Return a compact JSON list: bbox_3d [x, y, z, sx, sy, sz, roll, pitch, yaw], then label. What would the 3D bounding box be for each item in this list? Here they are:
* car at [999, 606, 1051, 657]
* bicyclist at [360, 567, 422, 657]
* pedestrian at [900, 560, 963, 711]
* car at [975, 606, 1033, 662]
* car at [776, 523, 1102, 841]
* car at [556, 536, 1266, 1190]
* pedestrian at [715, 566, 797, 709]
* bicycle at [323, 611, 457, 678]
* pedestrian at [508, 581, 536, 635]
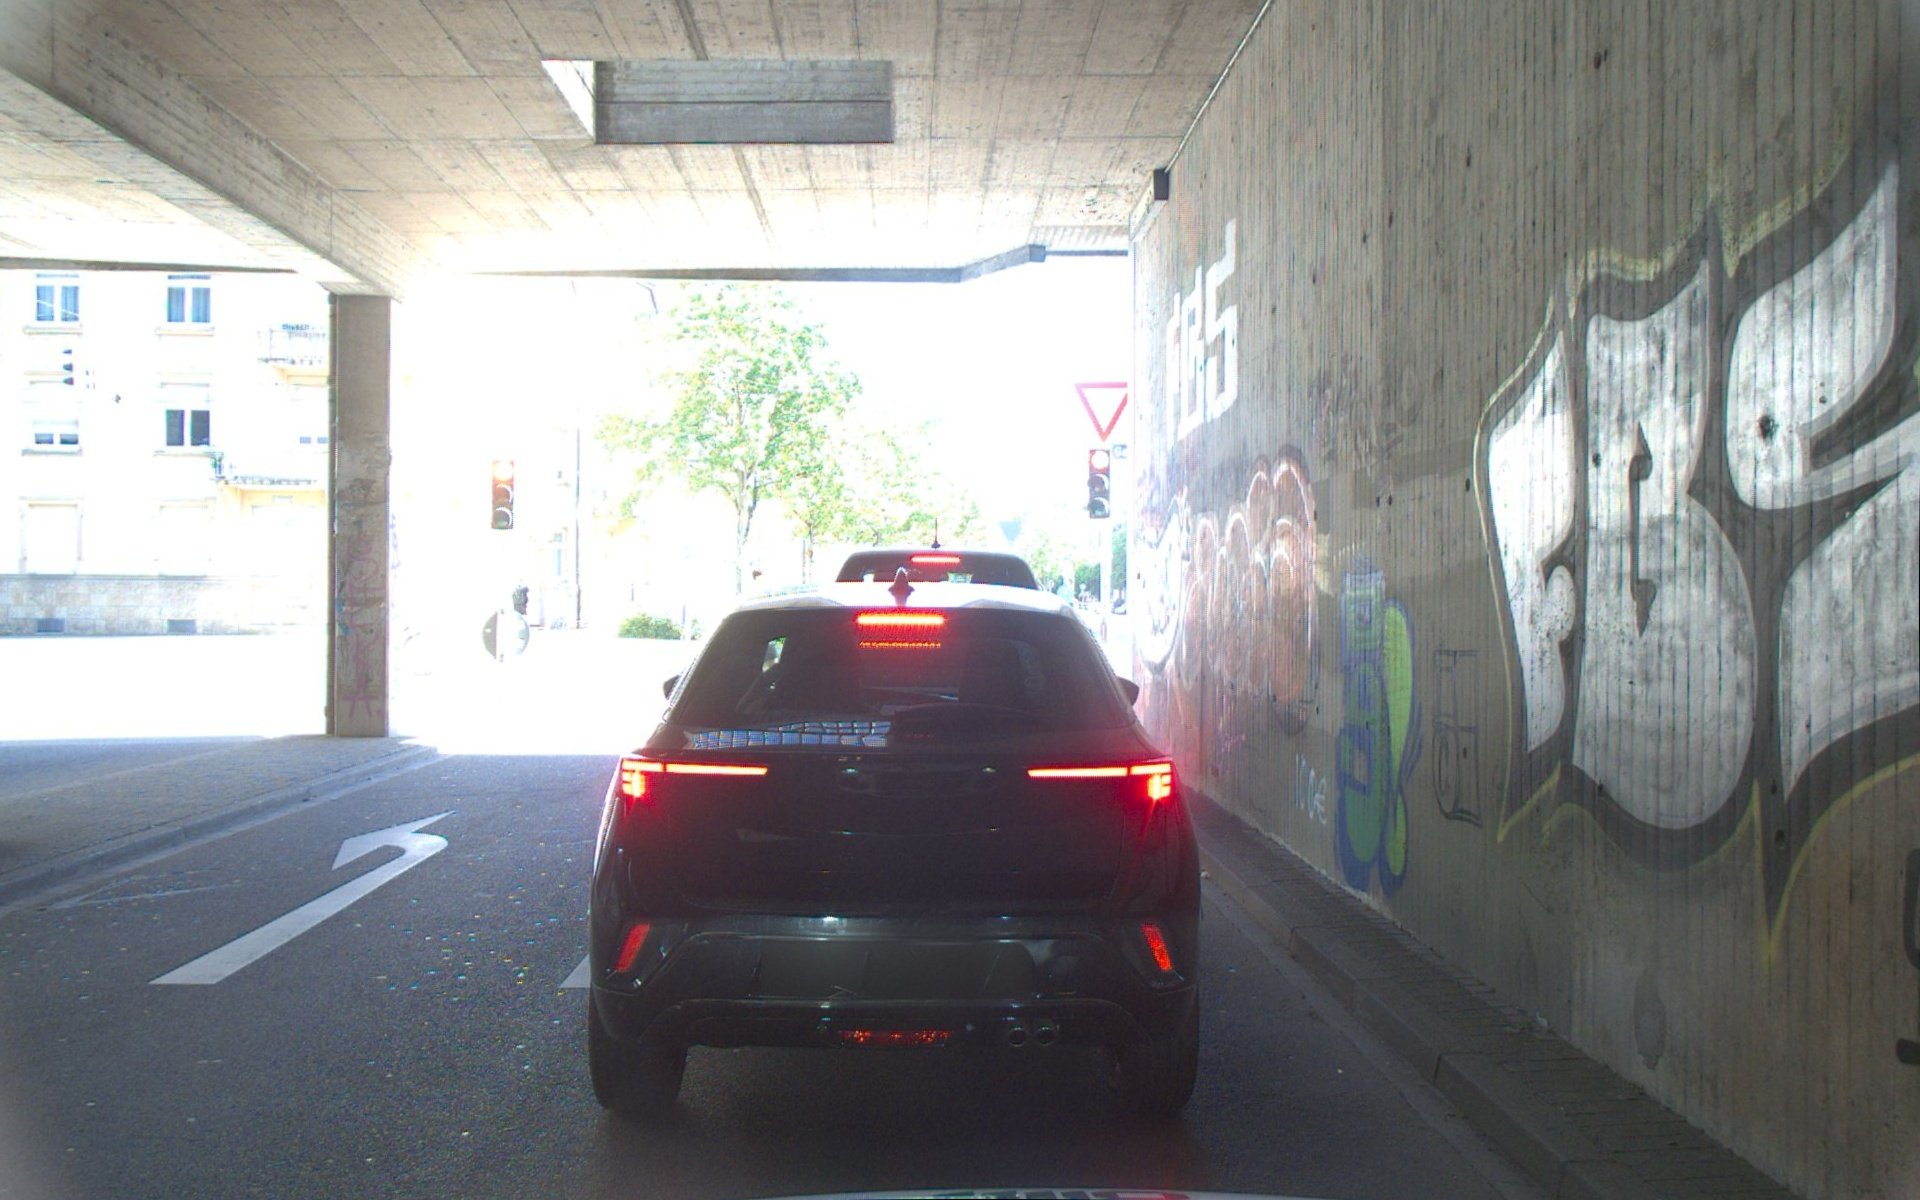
[{"bbox_3d":[2.733,1.282,68.523,1.951,2.004,4.166,1,0,4],"label":"car"},{"bbox_3d":[-9.331,0.201,27.130,0.722,1.448,0.685,-1,-1,6],"label":"bicyclist"},{"bbox_3d":[-0.341,0.419,19.842,0.716,1.764,0.874,1,-1,-1],"label":"pedestrian"},{"bbox_3d":[1.695,1.257,62.289,1.951,2.004,4.166,1,0,4],"label":"car"},{"bbox_3d":[-0.150,0.478,11.938,1.953,1.904,3.999,0,0,-1],"label":"car"},{"bbox_3d":[-0.147,0.611,6.091,1.729,1.598,4.000,1,1,-1],"label":"car"},{"bbox_3d":[-2.608,0.476,21.272,0.910,1.792,0.794,1,-1,1],"label":"pedestrian"},{"bbox_3d":[-9.336,0.723,27.108,1.947,1.068,0.719,-1,-1,6],"label":"bicycle"},{"bbox_3d":[-13.787,0.243,52.047,0.658,1.666,0.740,1,-1,-1],"label":"pedestrian"}]
